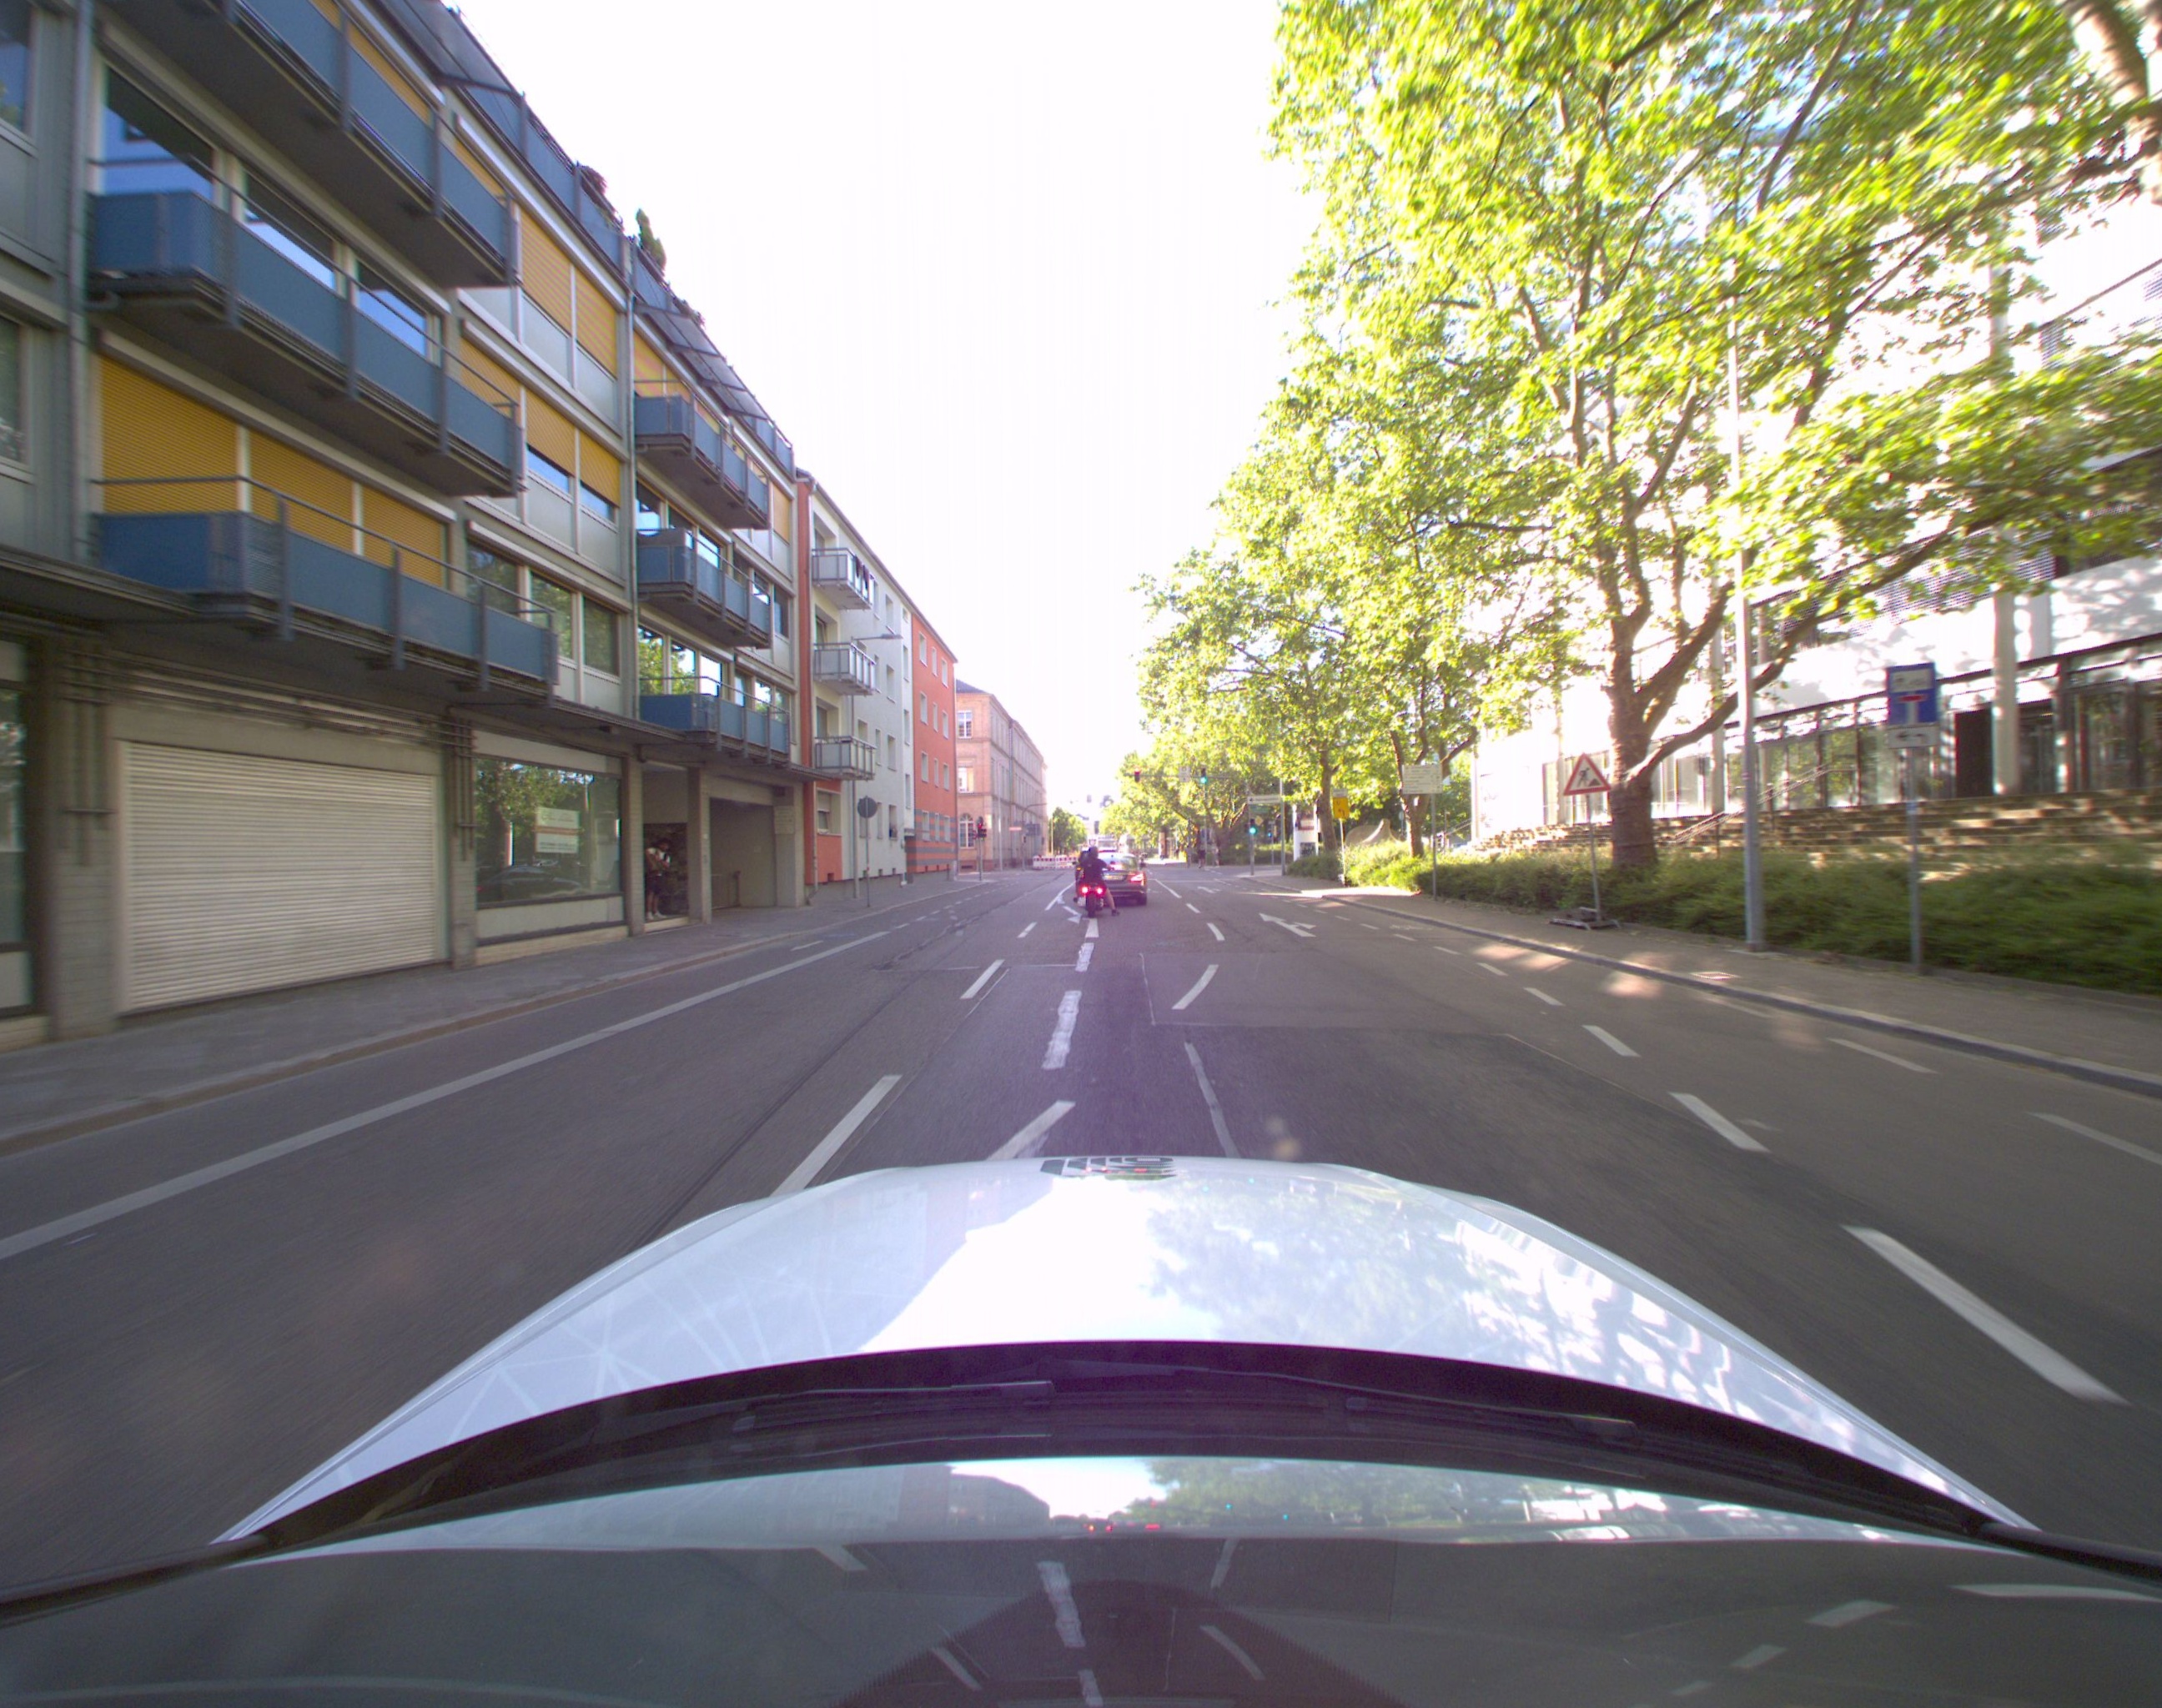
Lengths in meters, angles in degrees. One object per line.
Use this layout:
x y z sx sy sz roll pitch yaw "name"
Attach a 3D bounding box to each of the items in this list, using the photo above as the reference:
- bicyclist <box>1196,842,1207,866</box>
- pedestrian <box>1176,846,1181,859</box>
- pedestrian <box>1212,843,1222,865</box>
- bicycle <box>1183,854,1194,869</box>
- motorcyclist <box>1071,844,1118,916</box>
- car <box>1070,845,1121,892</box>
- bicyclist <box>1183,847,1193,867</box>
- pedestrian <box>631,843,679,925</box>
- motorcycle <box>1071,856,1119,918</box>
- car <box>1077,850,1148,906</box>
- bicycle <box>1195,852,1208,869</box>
7.916 -0.002 53.501 0.653 1.530 0.852 0 0 1 "bicyclist"
12.447 -0.178 104.331 0.590 1.578 0.527 0 0 2 "pedestrian"
11.185 0.023 66.930 0.617 1.774 0.576 0 0 39 "pedestrian"
8.220 0.578 62.482 0.653 1.111 2.186 0 0 2 "bicycle"
0.319 0.578 18.954 1.008 1.602 1.406 -2 0 1 "motorcyclist"
0.476 0.498 30.654 1.626 1.650 3.846 0 0 -4 "car"
8.220 0.207 62.518 0.653 1.530 0.906 0 0 1 "bicyclist"
-8.540 0.587 16.343 0.511 1.579 0.756 -1 0 1 "pedestrian"
0.338 0.719 18.956 1.008 1.306 2.674 -2 0 2 "motorcycle"
0.866 0.627 23.080 1.821 1.420 3.816 -1 0 2 "car"
7.916 0.402 53.500 0.653 1.070 1.928 0 0 2 "bicycle"
